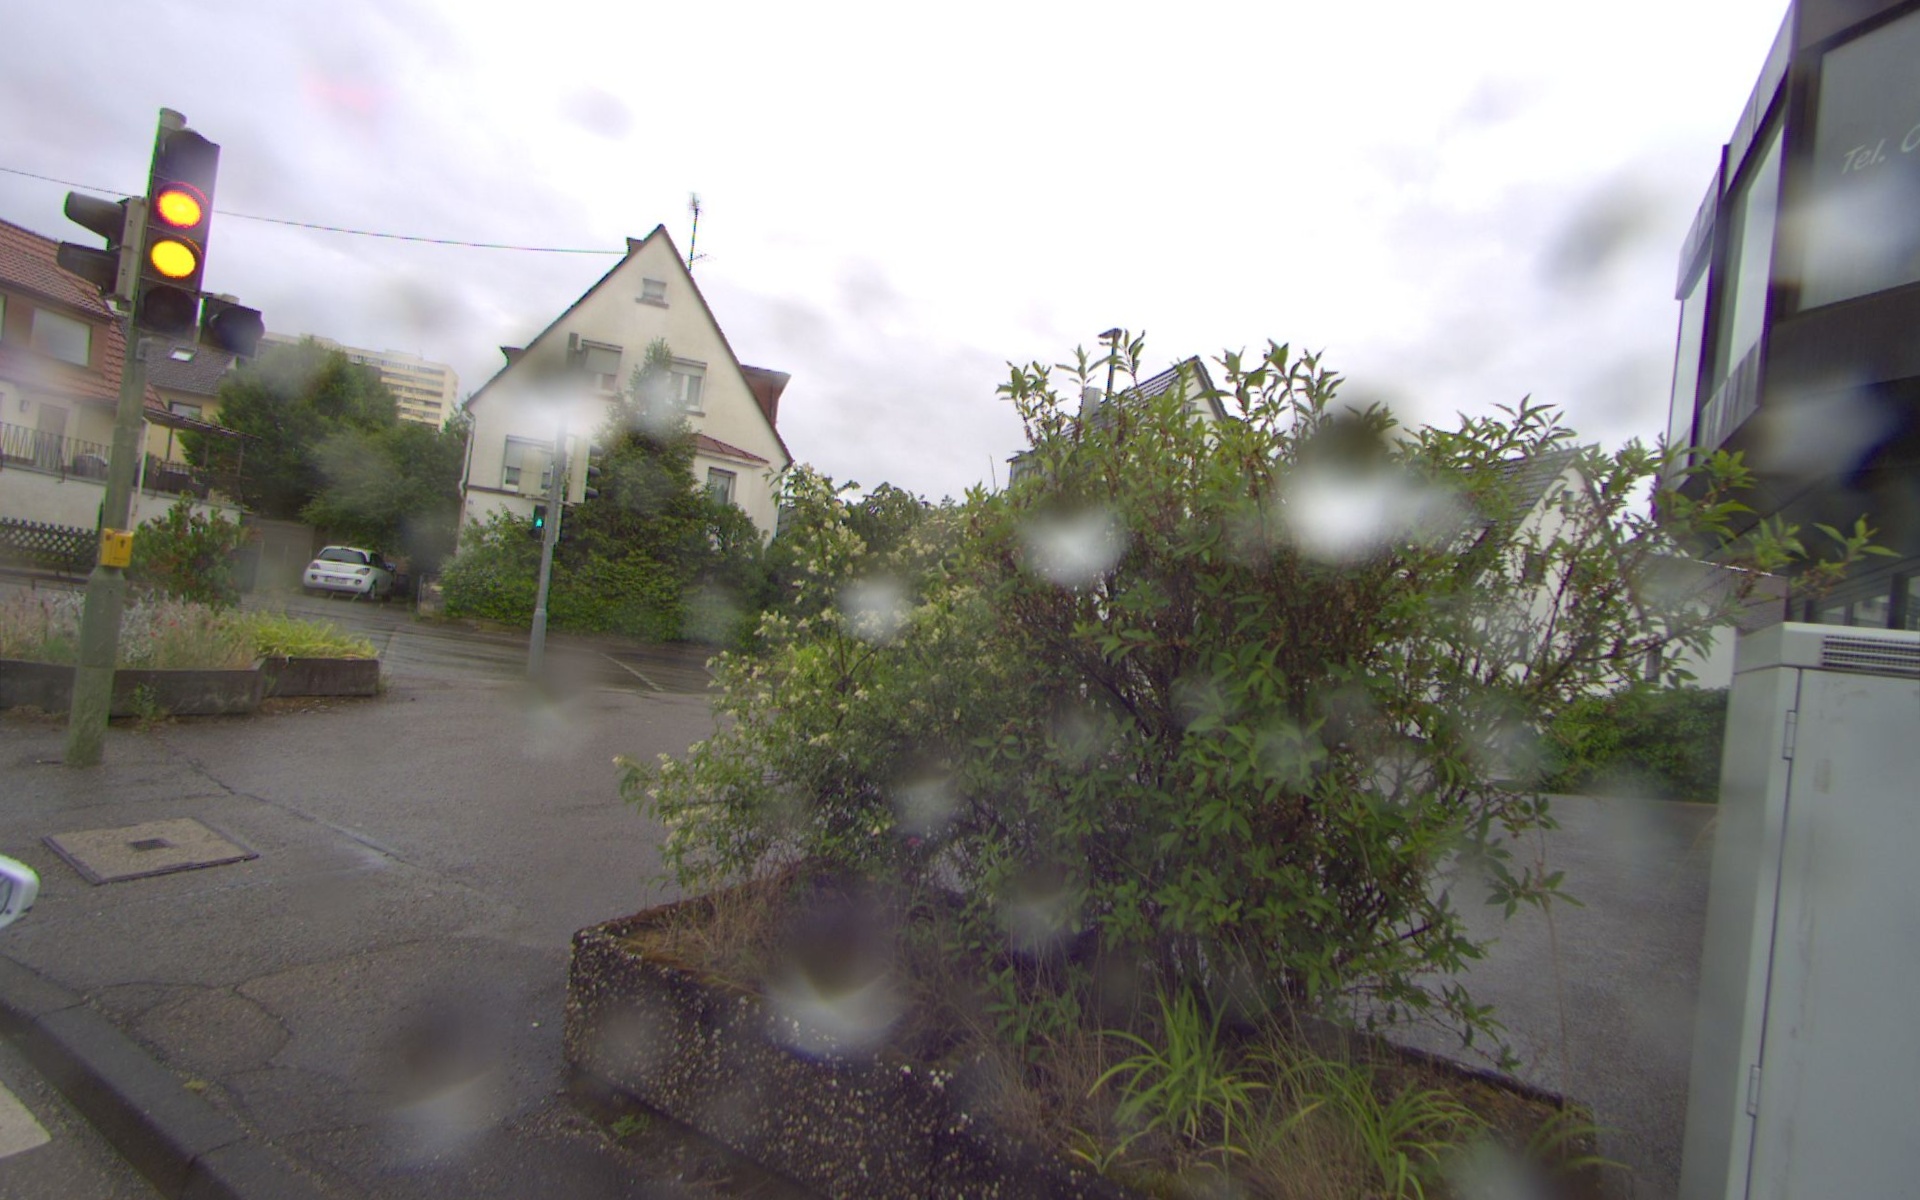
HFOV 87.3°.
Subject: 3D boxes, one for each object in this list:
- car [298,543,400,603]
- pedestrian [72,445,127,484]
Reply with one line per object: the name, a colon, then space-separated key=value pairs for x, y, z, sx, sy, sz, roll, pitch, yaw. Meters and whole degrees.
car: x=-17.746 y=-0.752 z=29.416 sx=1.794 sy=1.378 sz=3.981 roll=8 pitch=-2 yaw=-22
pedestrian: x=-24.262 y=-3.808 z=28.366 sx=0.623 sy=0.893 sz=0.920 roll=5 pitch=-2 yaw=13
